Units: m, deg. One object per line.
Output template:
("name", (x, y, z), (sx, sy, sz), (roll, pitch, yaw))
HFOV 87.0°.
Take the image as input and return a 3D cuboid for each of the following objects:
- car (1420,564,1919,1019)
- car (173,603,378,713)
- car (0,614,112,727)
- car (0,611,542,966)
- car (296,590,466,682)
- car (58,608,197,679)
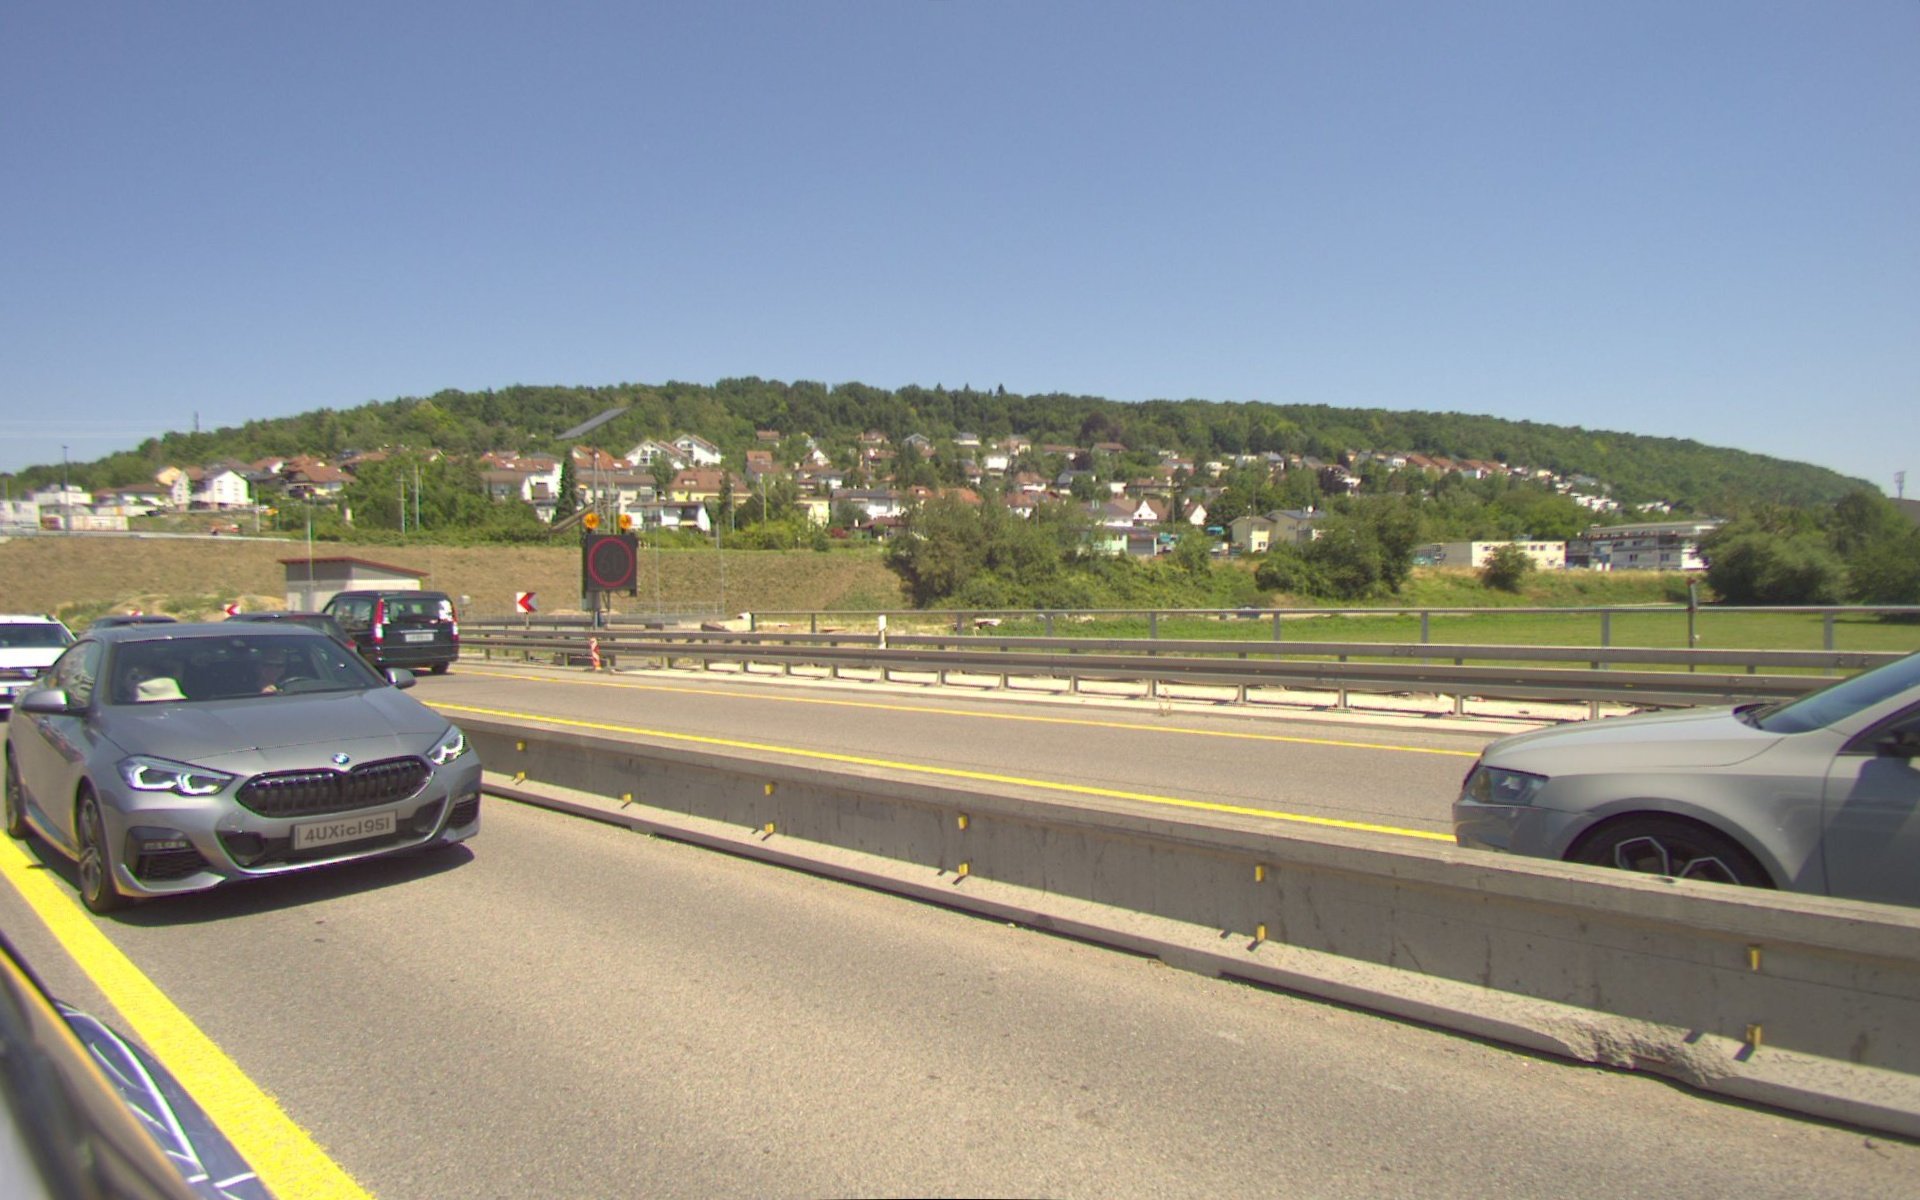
("car", (4.246, 0.601, 3.336), (4.653, 1.429, 1.807), (-2, -3, 40))
("car", (-11.377, 0.907, 16.725), (4.082, 1.594, 1.723), (-1, -3, 40))
("car", (-14.879, 1.028, 15.687), (4.701, 1.542, 1.801), (-2, -1, 39))
("car", (-4.713, 0.844, 6.451), (4.738, 1.463, 1.833), (-2, -1, 40))
("car", (-13.648, 0.824, 23.724), (4.934, 1.948, 1.904), (-2, -2, 40))
("car", (-19.154, 0.954, 23.228), (4.082, 1.484, 1.723), (-1, -2, 40))
